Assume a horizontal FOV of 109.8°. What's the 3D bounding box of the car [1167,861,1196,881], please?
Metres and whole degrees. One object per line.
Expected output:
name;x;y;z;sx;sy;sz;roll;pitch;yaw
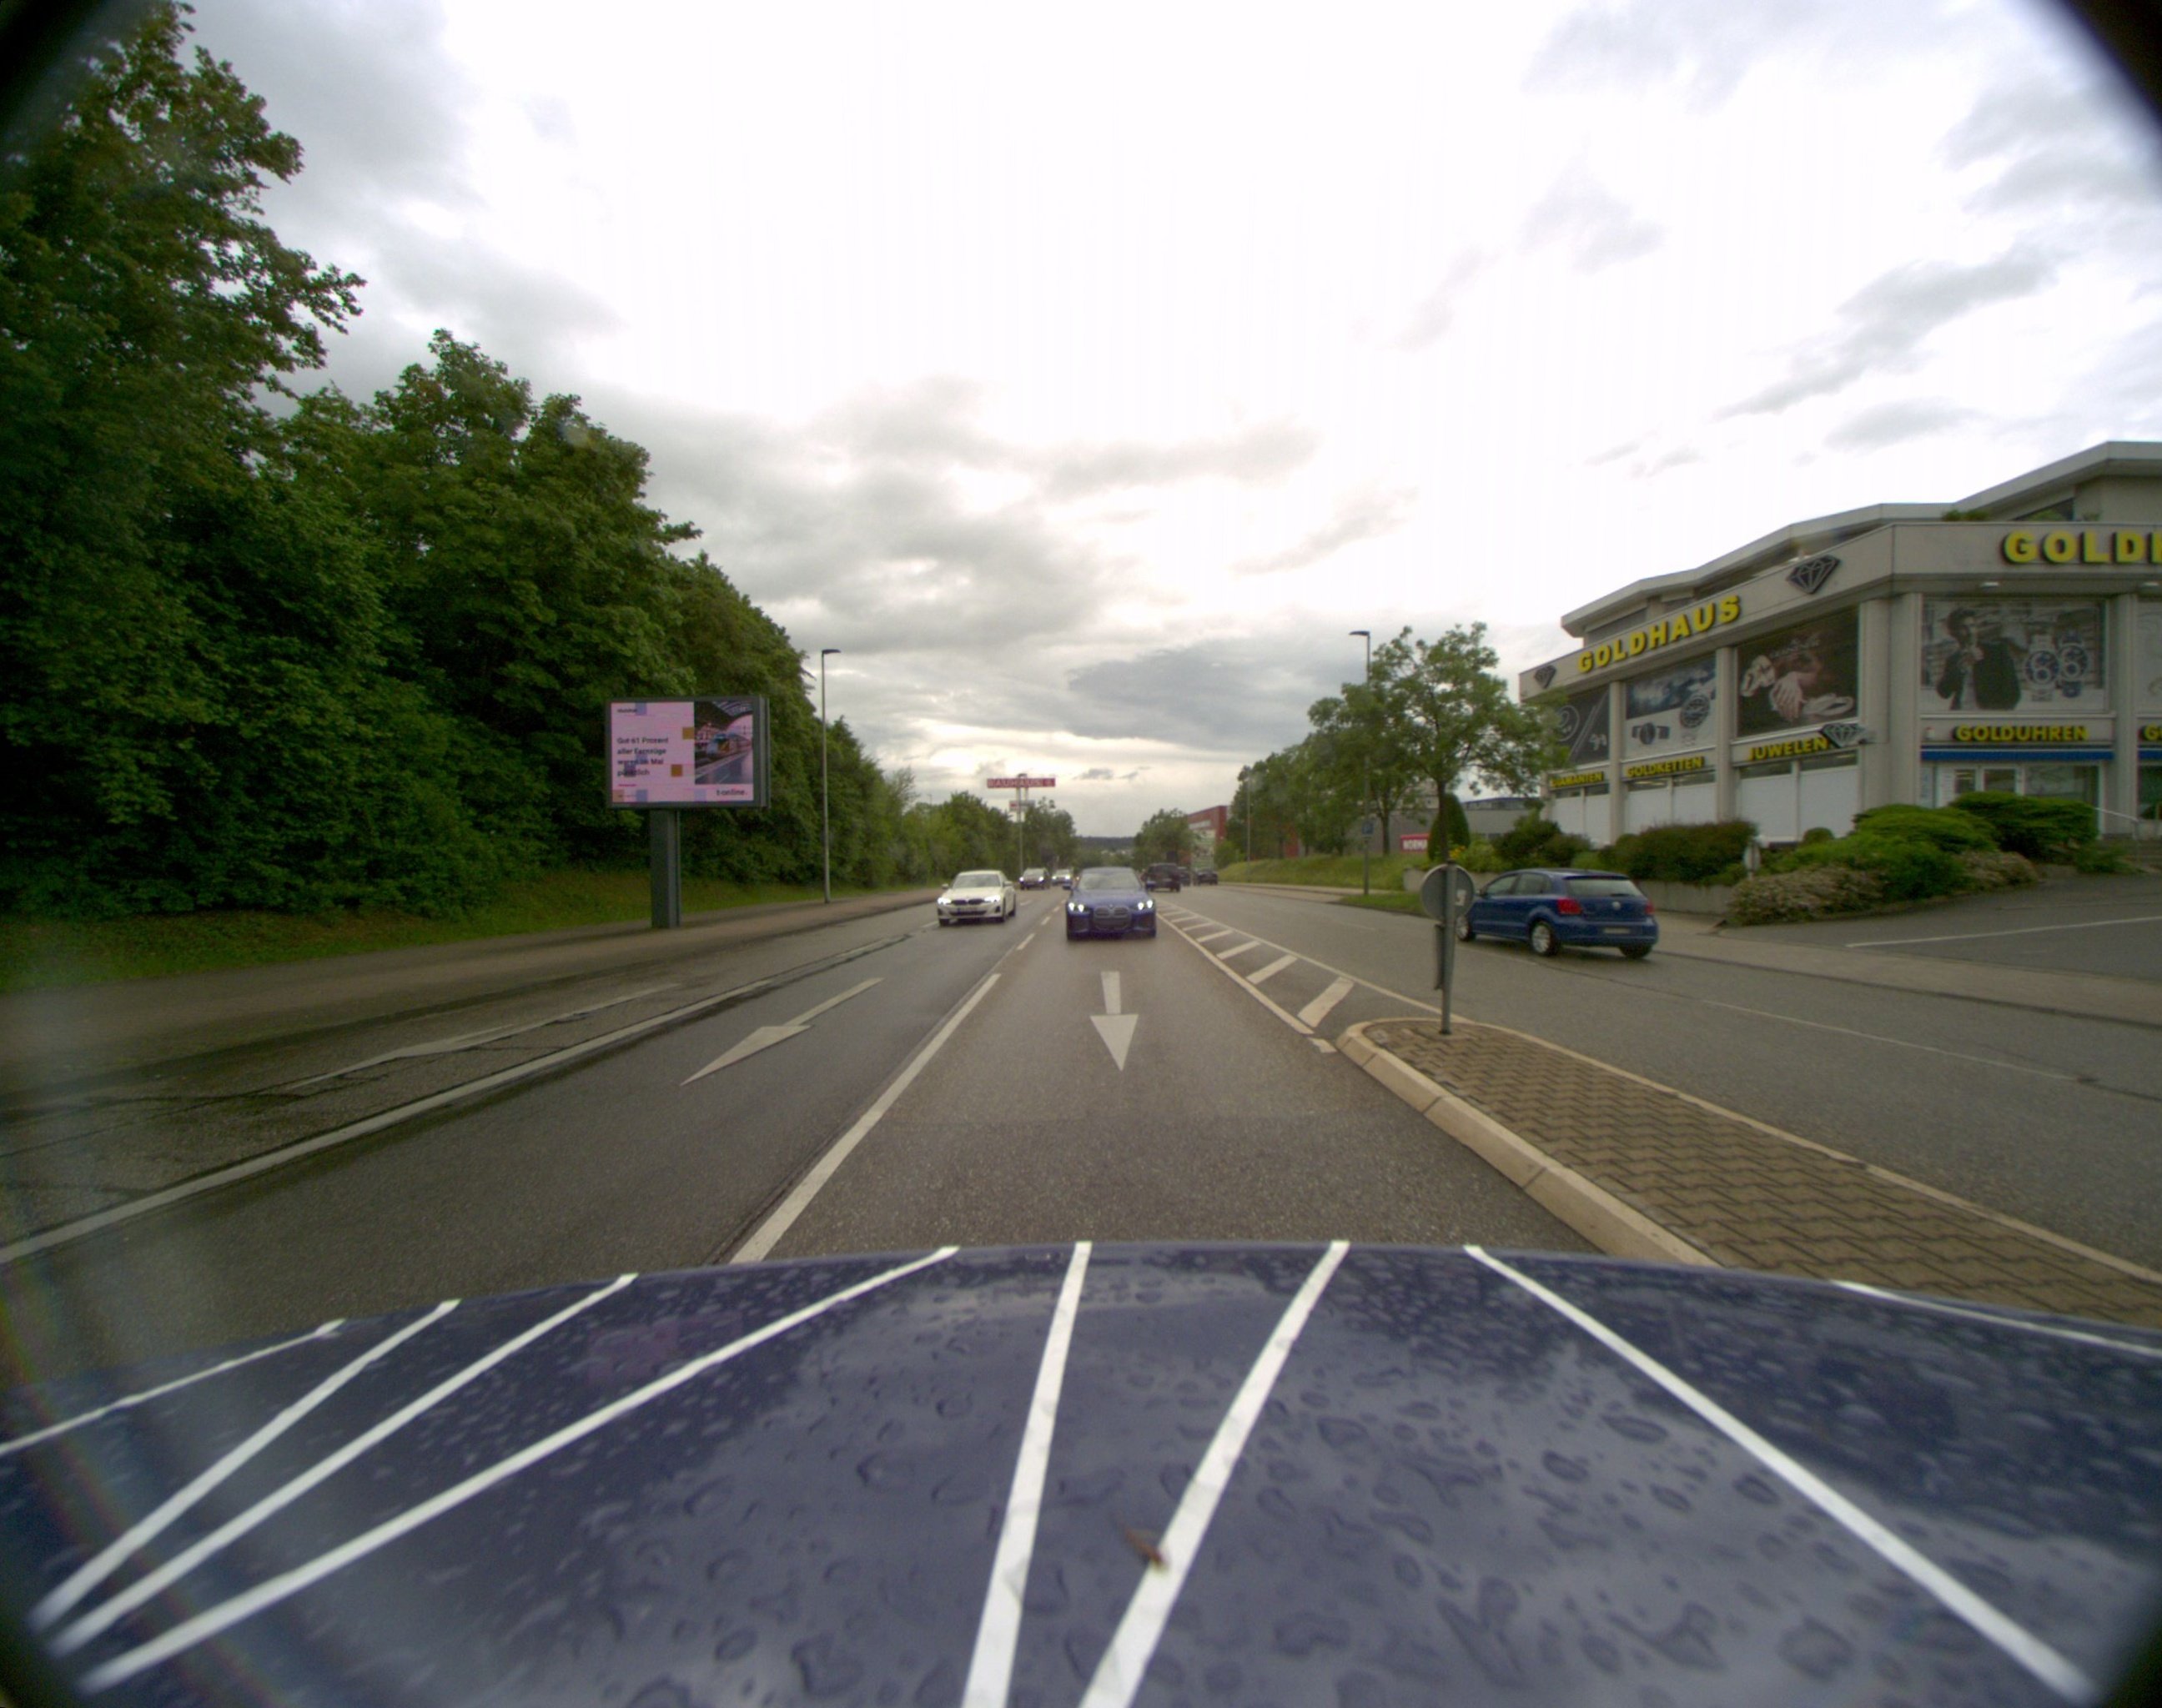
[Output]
car;8.522;1.450;64.614;1.756;1.601;4.532;1;-1;-1

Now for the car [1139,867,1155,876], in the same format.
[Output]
car;9.773;2.595;112.770;1.798;1.393;4.299;0;-1;-3

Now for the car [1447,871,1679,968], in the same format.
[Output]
car;8.150;1.023;13.298;1.638;1.373;3.765;1;0;0

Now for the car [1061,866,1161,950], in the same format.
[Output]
car;0.724;1.061;16.706;1.827;1.473;4.842;-2;-1;4

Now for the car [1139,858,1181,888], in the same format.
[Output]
car;4.644;1.110;45.037;1.761;1.667;4.147;1;0;-4

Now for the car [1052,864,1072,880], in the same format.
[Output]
car;-1.856;1.812;77.162;1.853;1.565;4.000;-2;0;0

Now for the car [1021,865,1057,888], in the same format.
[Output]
car;-3.128;1.699;57.187;2.113;1.609;4.842;-1;-1;4

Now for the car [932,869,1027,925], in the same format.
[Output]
car;-2.871;1.186;22.324;1.863;1.473;4.003;-1;-1;6

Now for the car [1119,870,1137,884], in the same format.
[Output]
car;5.137;2.544;83.991;1.671;1.390;4.000;1;0;-1
